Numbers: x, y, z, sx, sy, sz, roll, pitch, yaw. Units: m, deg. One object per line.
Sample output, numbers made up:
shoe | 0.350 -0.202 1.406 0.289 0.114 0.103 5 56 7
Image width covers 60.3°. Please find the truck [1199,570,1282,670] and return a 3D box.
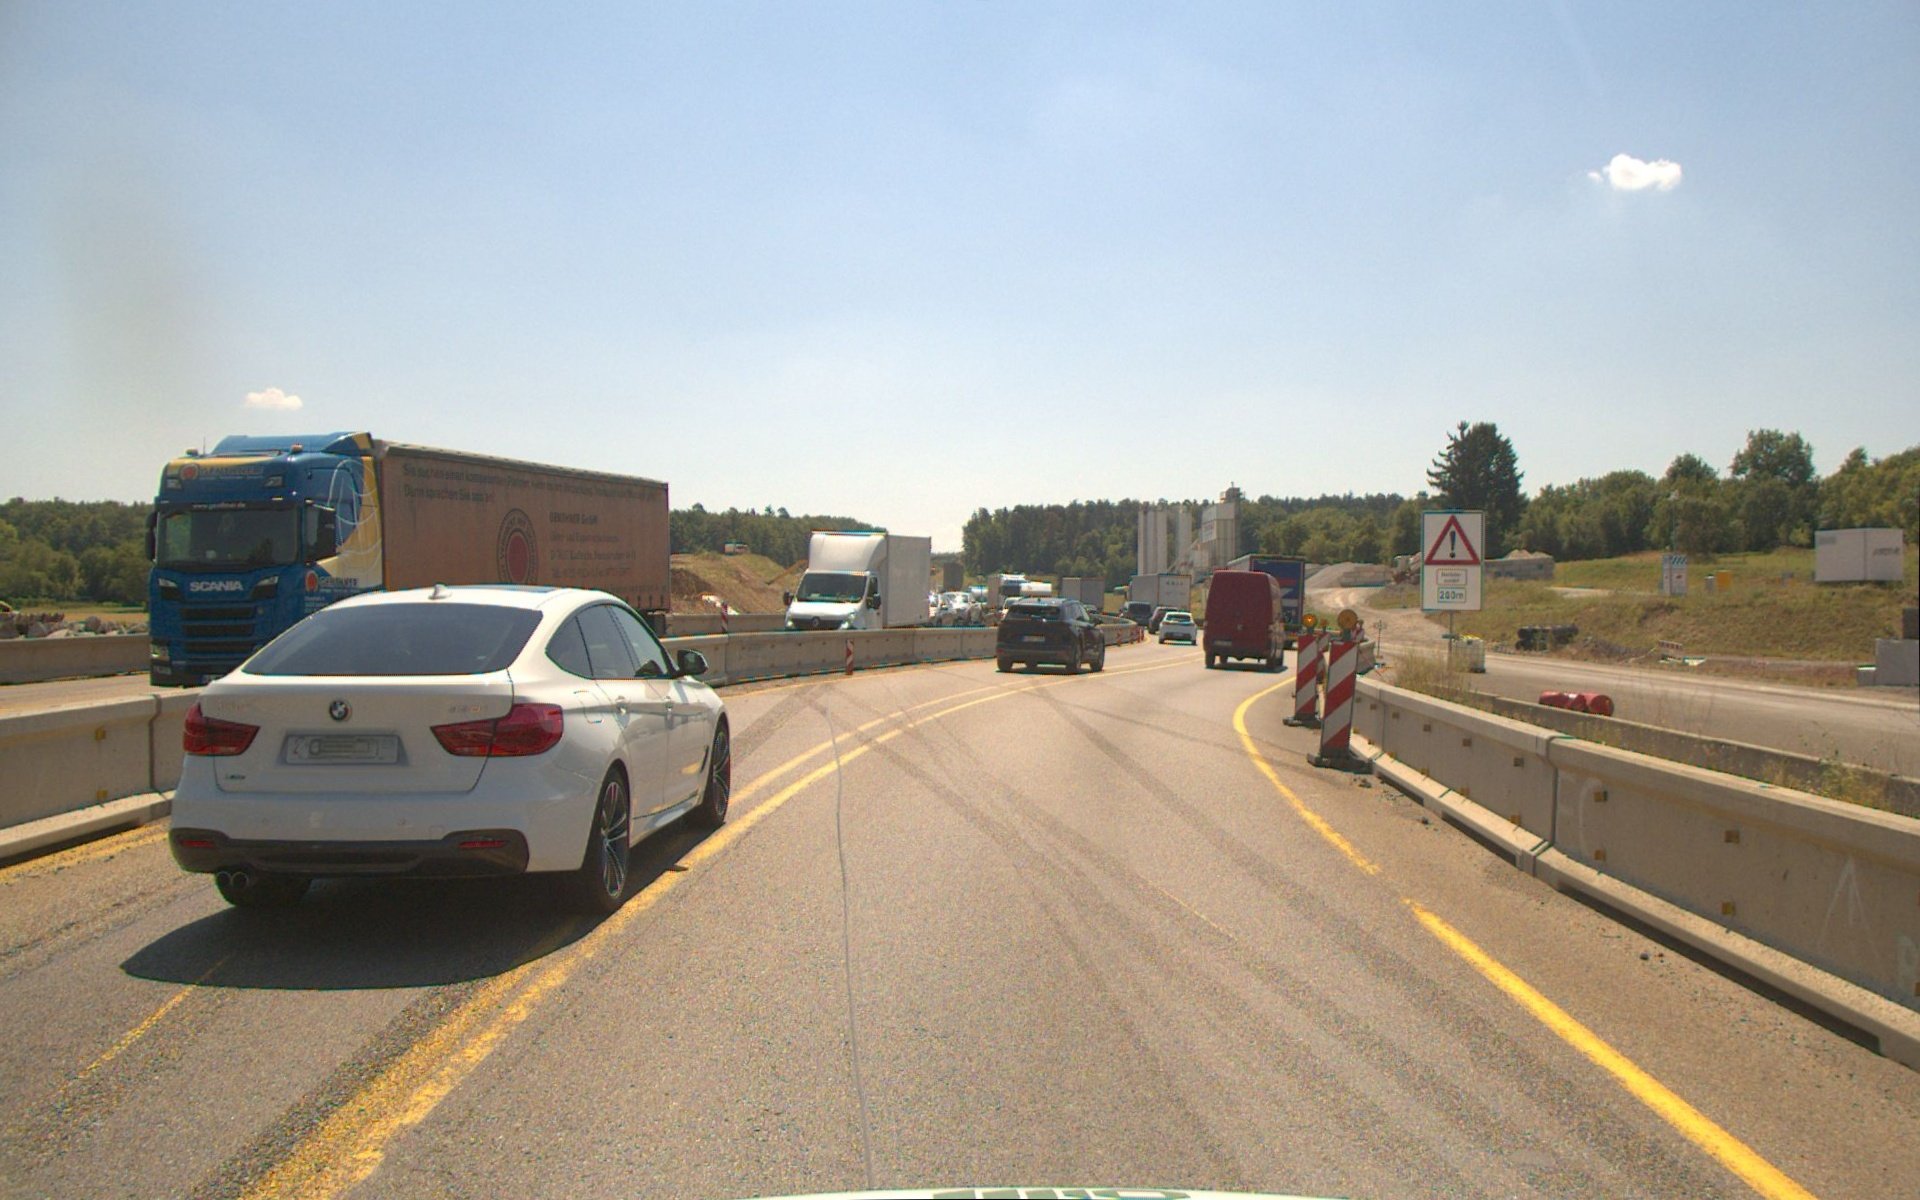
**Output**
truck | 8.236 0.532 48.058 2.066 2.679 6.489 1 0 12

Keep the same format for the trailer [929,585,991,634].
trailer | 0.051 0.411 73.000 1.826 2.057 4.440 1 0 12

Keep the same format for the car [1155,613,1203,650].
car | 9.934 1.400 75.106 1.764 1.607 4.001 1 0 2

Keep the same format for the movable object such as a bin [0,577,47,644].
movable object such as a bin | -46.920 0.484 80.172 1.952 3.196 4.486 1 0 20

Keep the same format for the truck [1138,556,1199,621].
truck | 16.039 -0.859 127.884 3.607 4.774 9.754 1 0 1

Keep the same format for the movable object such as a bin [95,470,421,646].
movable object such as a bin | -19.250 -1.045 46.290 2.863 4.405 9.329 1 0 19

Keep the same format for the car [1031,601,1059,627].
car | 5.668 0.923 110.280 1.683 1.656 4.339 1 0 5

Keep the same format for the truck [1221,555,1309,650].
truck | 14.399 0.111 78.734 2.952 4.225 8.275 1 0 2

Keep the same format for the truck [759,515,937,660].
truck | -2.755 -0.305 43.089 2.524 3.440 6.933 1 0 15

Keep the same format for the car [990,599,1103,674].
car | 1.993 0.768 36.979 1.757 1.561 3.934 1 0 14

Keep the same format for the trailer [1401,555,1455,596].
trailer | 50.059 -2.573 177.097 2.707 4.186 6.725 1 0 -12

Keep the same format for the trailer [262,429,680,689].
trailer | -9.103 -0.675 33.474 2.531 4.224 13.076 1 0 10

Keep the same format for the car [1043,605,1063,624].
car | 8.336 1.266 147.544 1.625 1.633 4.399 1 0 5

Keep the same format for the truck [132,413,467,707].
truck | -10.225 -0.580 26.258 2.490 4.152 5.549 1 0 8

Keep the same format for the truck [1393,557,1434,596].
truck | 49.400 -2.571 180.200 2.697 4.167 4.088 1 0 -12

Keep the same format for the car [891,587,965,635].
car | -1.259 0.447 66.871 1.826 1.838 4.910 -1 0 13

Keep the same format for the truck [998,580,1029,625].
truck | 5.031 0.200 155.307 2.644 4.133 5.504 1 0 4

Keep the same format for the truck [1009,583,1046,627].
truck | 5.029 0.354 124.147 2.391 3.125 7.247 1 0 0

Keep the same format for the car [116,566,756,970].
car | -2.373 0.656 9.041 1.758 1.561 5.074 1 0 1
